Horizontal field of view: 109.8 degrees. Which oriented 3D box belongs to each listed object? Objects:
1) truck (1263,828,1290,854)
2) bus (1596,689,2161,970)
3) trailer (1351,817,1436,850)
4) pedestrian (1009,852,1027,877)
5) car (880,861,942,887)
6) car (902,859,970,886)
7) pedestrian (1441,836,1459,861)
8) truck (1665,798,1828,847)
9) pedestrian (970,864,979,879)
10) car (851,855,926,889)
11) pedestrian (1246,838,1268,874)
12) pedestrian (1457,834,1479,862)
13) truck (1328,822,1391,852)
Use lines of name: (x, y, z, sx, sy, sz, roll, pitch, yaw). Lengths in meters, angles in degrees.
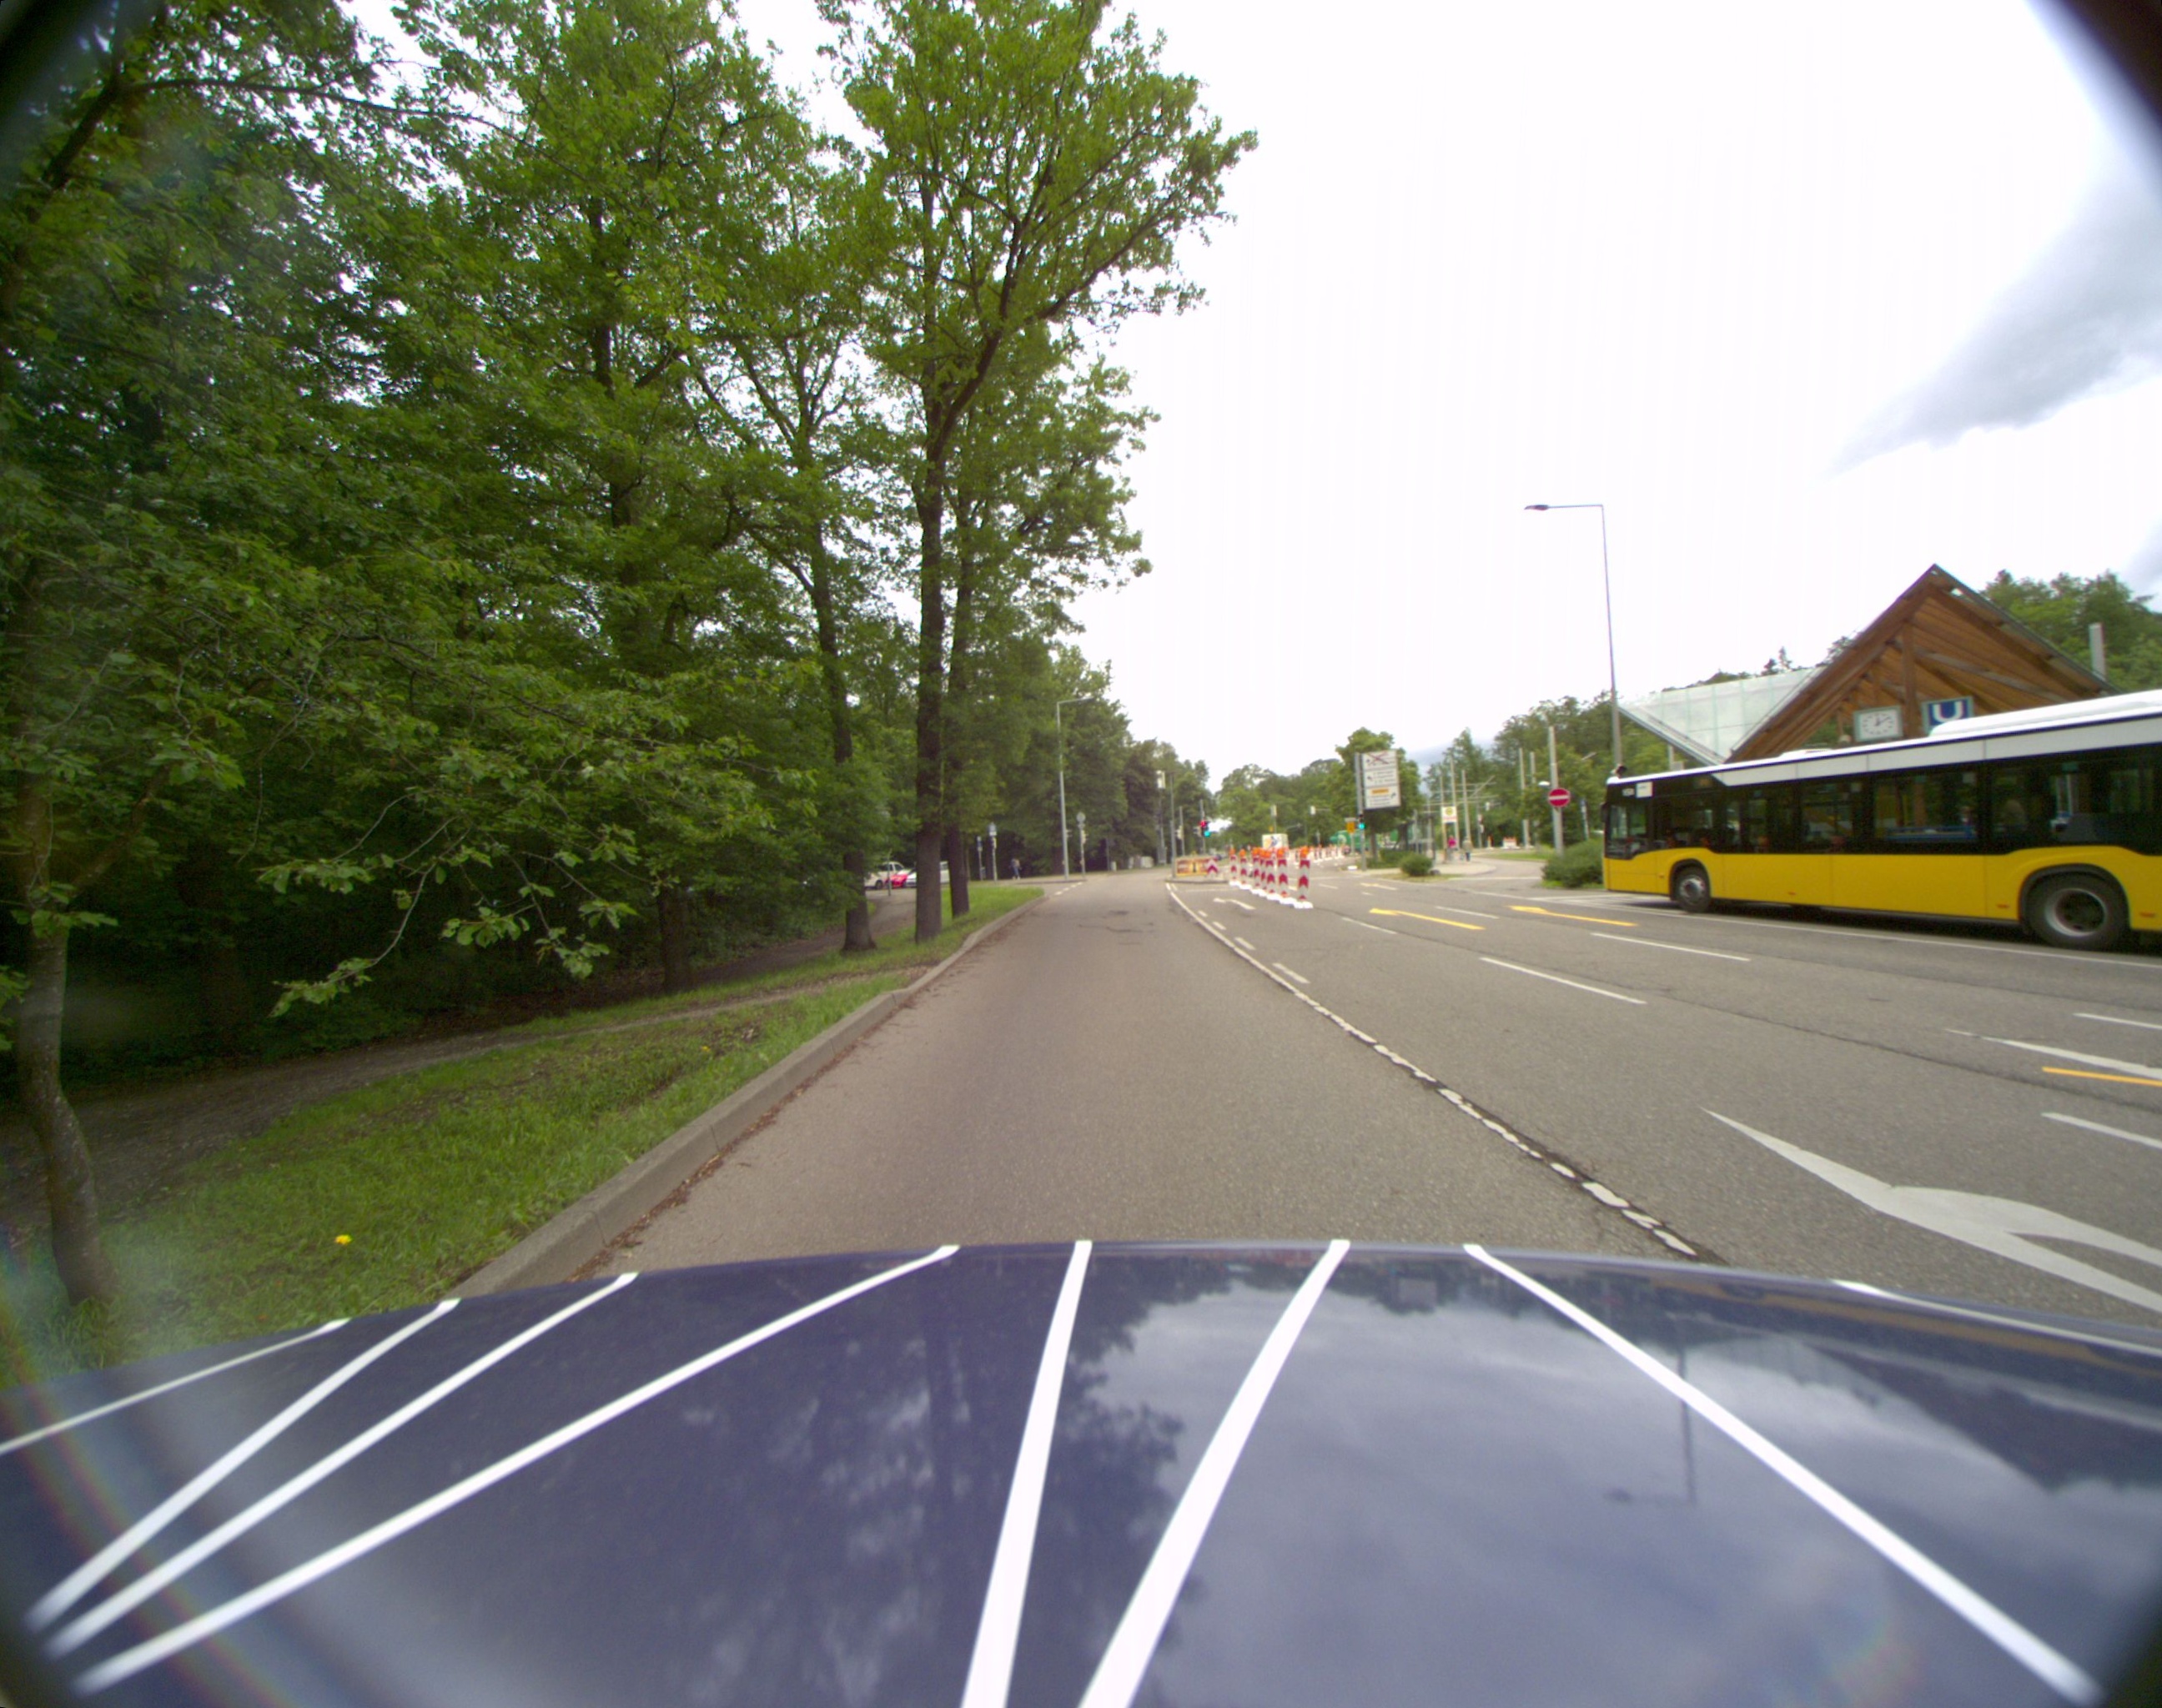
truck: (25.004, -1.637, 96.919, 2.631, 3.219, 6.215, -1, 1, 20)
bus: (13.490, -0.344, 12.931, 2.906, 3.109, 9.759, -2, 0, 1)
trailer: (45.076, -2.850, 110.135, 3.792, 3.858, 11.849, -4, 0, -24)
pedestrian: (-4.277, 0.701, 51.807, 1.094, 1.666, 0.910, -3, 1, -9)
car: (-12.145, 1.398, 54.416, 1.890, 1.543, 4.007, -4, 0, 35)
car: (-10.063, 1.274, 53.050, 1.995, 1.543, 4.429, -4, -1, 35)
pedestrian: (23.762, -0.346, 48.924, 0.791, 1.542, 0.776, -4, 0, 12)
truck: (36.702, -1.654, 42.245, 2.609, 2.157, 6.295, -4, 0, -17)
pedestrian: (-12.563, 2.066, 89.699, 0.833, 1.641, 1.035, -4, 0, -2)
car: (-14.123, 1.301, 56.026, 2.058, 1.946, 5.191, -4, 1, 32)
pedestrian: (9.310, 0.105, 40.274, 0.993, 1.798, 0.767, -4, 0, 10)
pedestrian: (22.195, -0.358, 43.574, 0.873, 1.516, 0.769, -4, 0, 39)
truck: (42.313, -2.590, 115.973, 3.792, 3.858, 8.757, -4, 0, -24)
